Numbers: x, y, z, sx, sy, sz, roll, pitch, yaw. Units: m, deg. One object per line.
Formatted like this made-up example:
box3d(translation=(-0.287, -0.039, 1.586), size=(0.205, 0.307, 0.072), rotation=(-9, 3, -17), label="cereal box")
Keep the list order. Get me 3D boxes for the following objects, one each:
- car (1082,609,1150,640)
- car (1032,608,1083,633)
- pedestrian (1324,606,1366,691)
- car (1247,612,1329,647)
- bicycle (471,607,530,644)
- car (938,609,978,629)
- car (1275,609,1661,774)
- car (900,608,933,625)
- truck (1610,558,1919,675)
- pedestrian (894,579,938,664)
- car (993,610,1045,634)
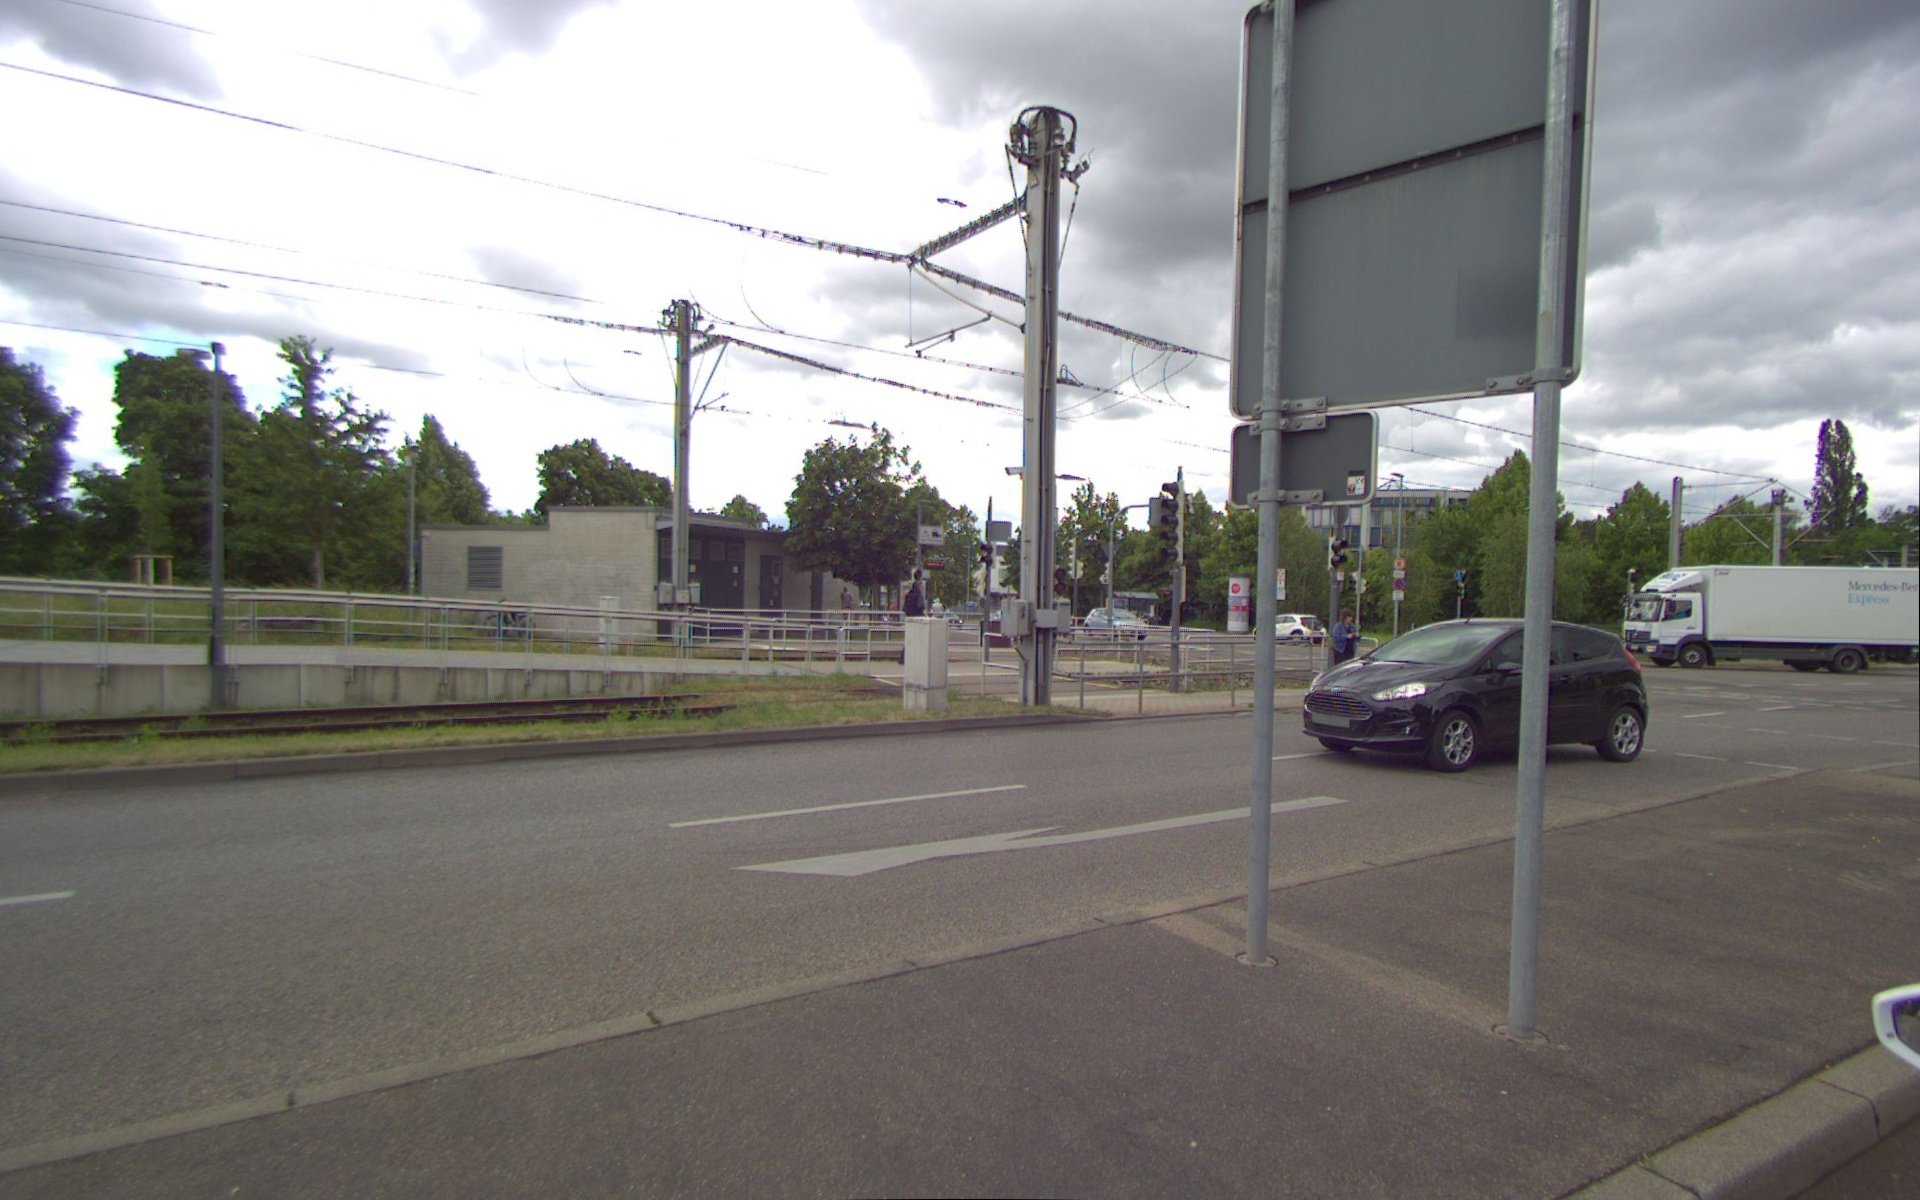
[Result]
box3d(translation=(7.637, 1.207, 49.653), size=(1.496, 1.395, 3.979), rotation=(1, 0, -22), label="car")
box3d(translation=(5.439, 1.119, 56.283), size=(1.530, 1.327, 3.276), rotation=(1, 0, -22), label="car")
box3d(translation=(7.257, 0.911, 18.922), size=(0.640, 1.577, 0.354), rotation=(-1, 1, 4), label="pedestrian")
box3d(translation=(16.282, 1.439, 50.019), size=(1.759, 1.528, 3.717), rotation=(-2, 1, -29), label="car")
box3d(translation=(-13.534, 0.752, 29.576), size=(1.762, 1.029, 0.411), rotation=(1, 1, 18), label="bicycle")
box3d(translation=(-0.155, 1.372, 73.682), size=(1.697, 1.327, 3.729), rotation=(1, 0, -22), label="car")
box3d(translation=(5.376, 0.883, 10.635), size=(3.723, 1.499, 1.630), rotation=(1, -1, -23), label="car")
box3d(translation=(-3.692, 1.379, 84.738), size=(1.697, 1.327, 3.729), rotation=(1, 0, -22), label="car")
box3d(translation=(28.734, 0.540, 35.486), size=(9.309, 3.698, 2.670), rotation=(2, 1, 8), label="truck")
box3d(translation=(-0.974, 0.474, 22.279), size=(0.785, 1.852, 0.568), rotation=(1, 1, -33), label="pedestrian")
box3d(translation=(3.512, 1.291, 60.510), size=(1.698, 1.327, 3.729), rotation=(1, 0, -22), label="car")
